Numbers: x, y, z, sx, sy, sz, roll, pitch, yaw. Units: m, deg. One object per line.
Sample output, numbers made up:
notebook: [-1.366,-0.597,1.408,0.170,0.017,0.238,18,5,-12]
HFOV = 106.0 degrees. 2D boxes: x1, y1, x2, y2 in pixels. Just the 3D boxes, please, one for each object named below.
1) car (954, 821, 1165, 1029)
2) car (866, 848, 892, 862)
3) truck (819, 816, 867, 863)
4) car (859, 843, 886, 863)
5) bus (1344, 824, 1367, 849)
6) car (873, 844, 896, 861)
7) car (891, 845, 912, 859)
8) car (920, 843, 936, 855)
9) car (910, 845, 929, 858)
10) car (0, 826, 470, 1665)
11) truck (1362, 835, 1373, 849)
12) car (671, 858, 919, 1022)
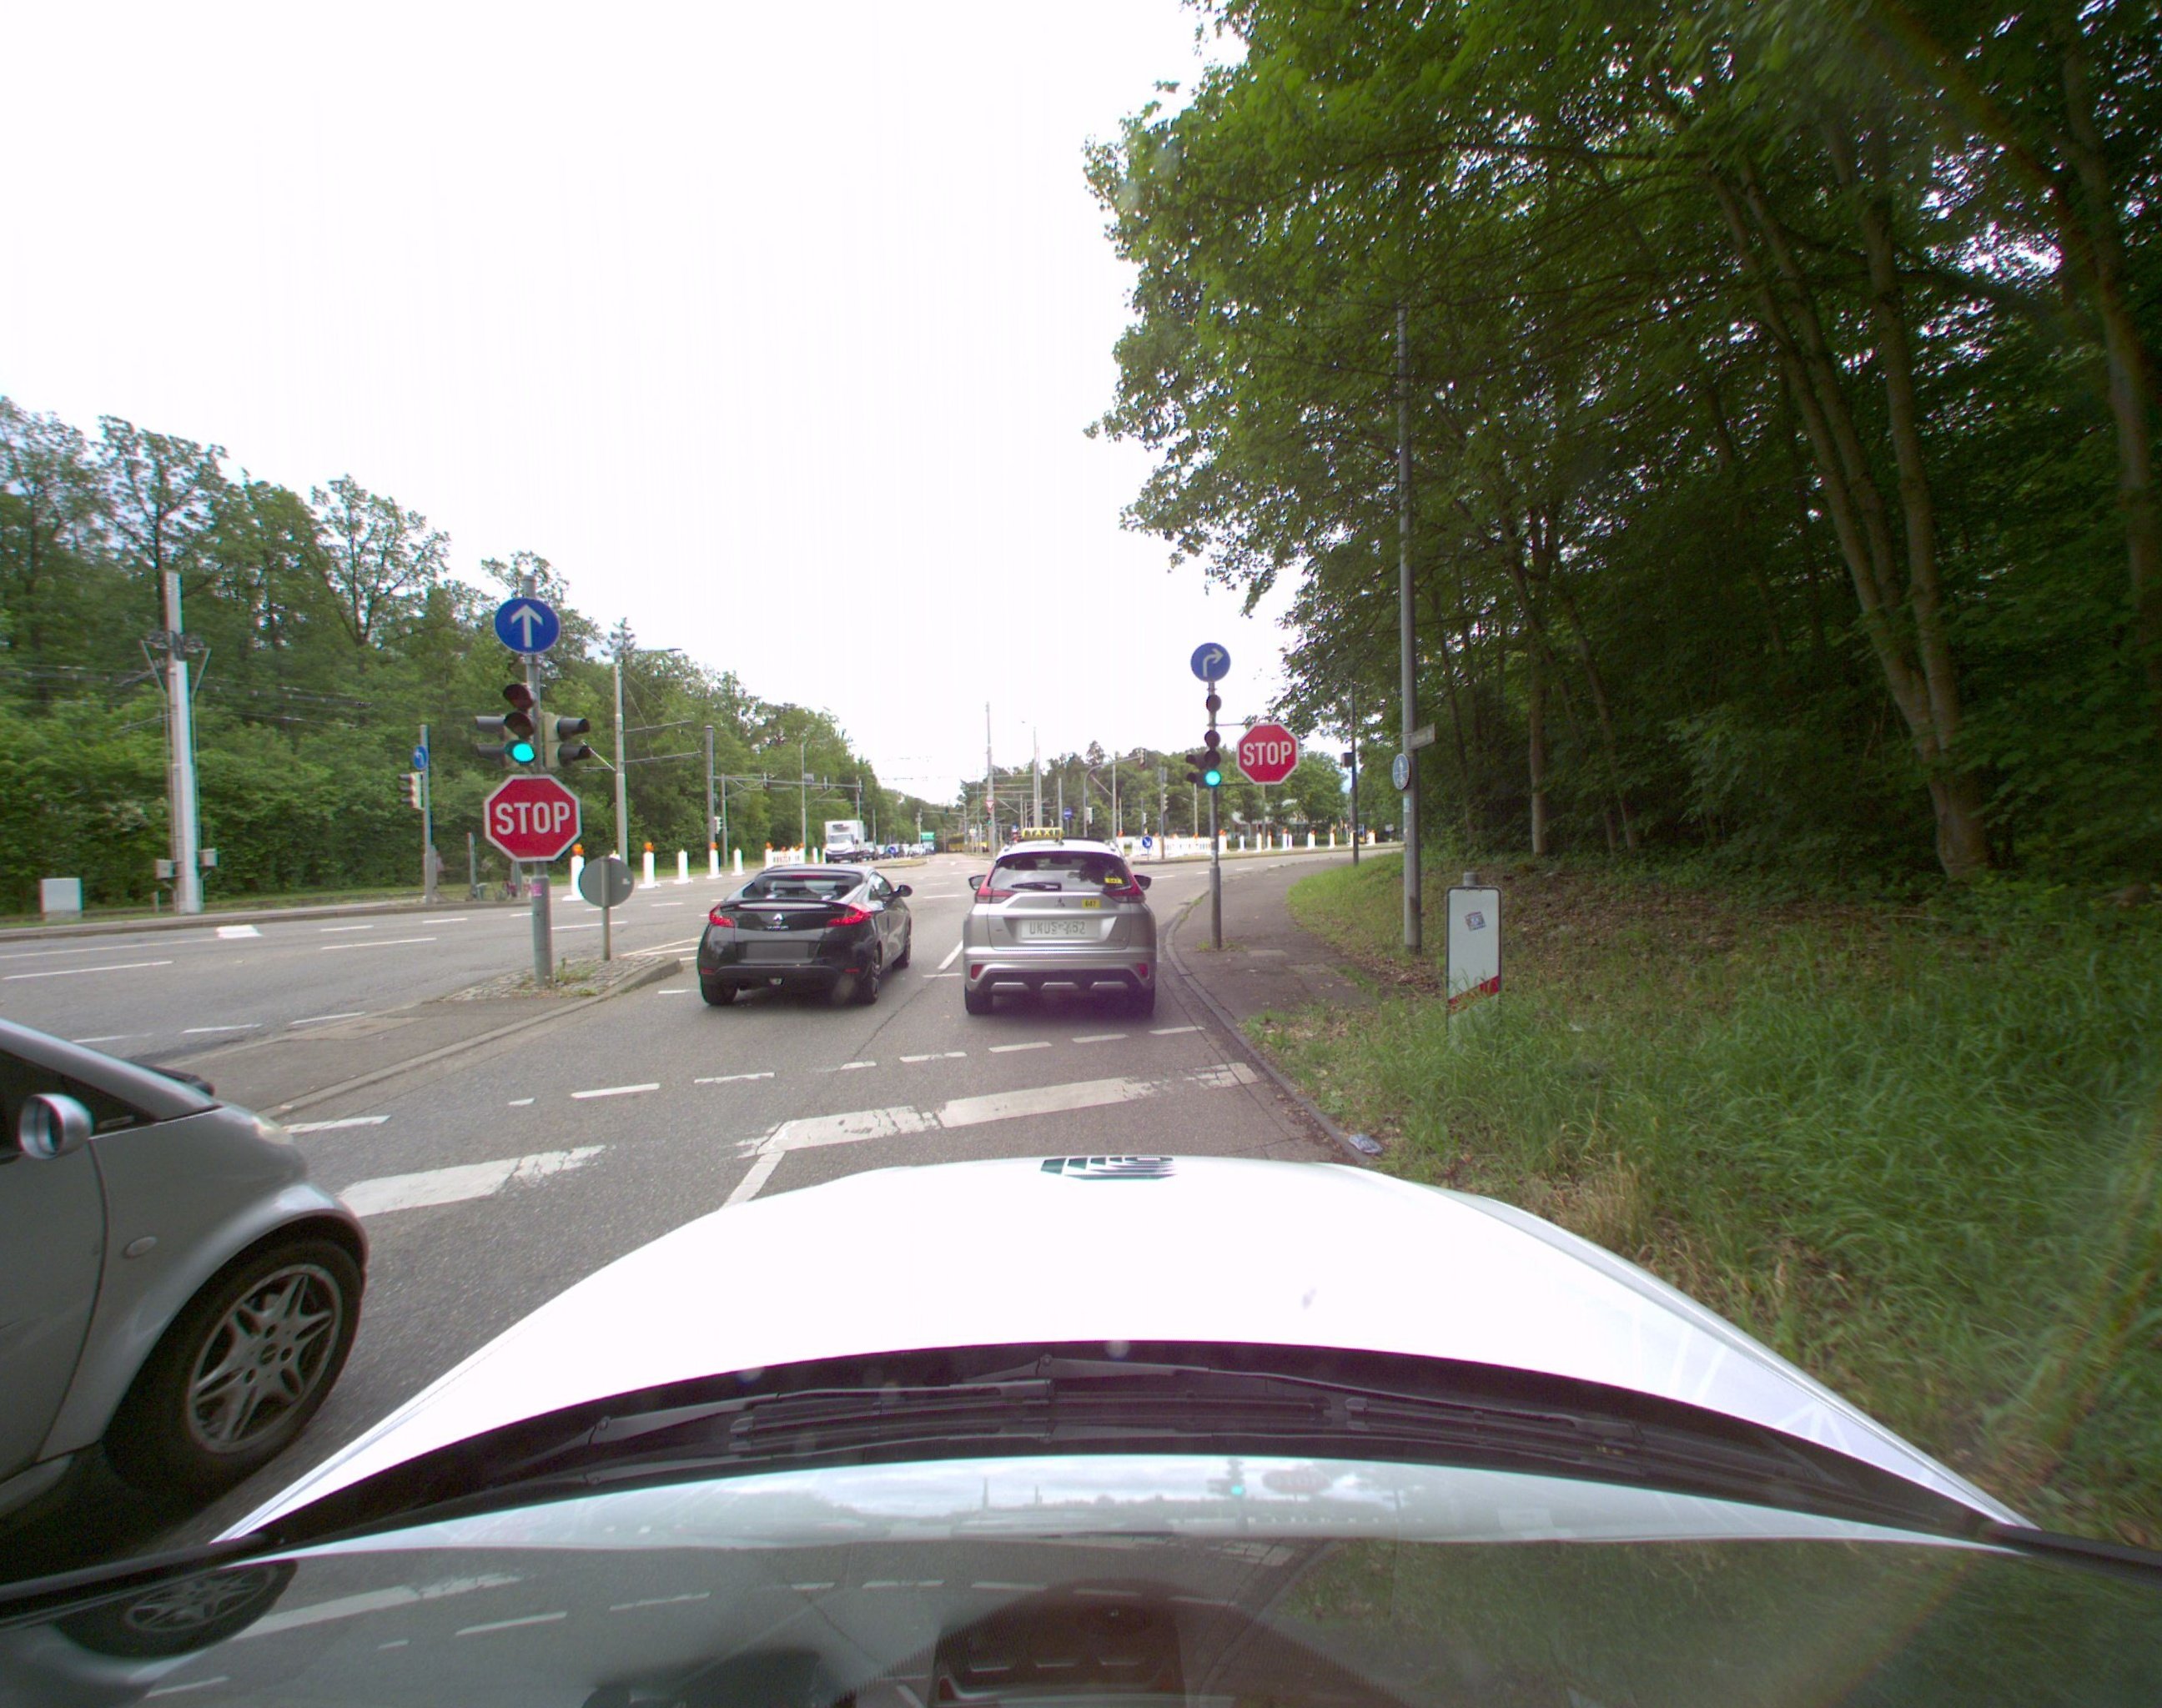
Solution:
car: [-0.184,0.573,8.741,1.768,1.748,3.780,0,1,0]
car: [-20.766,0.072,83.898,1.960,1.361,4.678,-2,1,-7]
truck: [-17.826,-1.053,61.339,2.448,3.224,7.133,-2,1,-9]
car: [-19.379,-0.109,76.006,1.961,1.750,4.831,-2,1,-9]
bus: [42.707,-2.792,126.971,2.800,3.603,12.860,-1,1,16]
car: [-22.324,-0.233,92.777,1.960,1.844,4.678,-2,1,-7]
car: [-22.022,-0.293,100.041,1.960,1.607,4.300,-2,1,-7]
car: [-22.370,-0.740,119.321,1.960,1.540,4.300,-2,1,-7]
car: [-20.962,-0.371,105.838,1.960,1.541,4.385,-2,1,-7]
car: [-2.799,0.771,1.336,1.453,1.586,2.727,-2,1,0]
truck: [69.977,-3.001,199.071,2.463,3.286,8.561,-1,1,19]
car: [-2.954,0.795,9.209,1.771,1.361,3.470,-2,1,-5]
